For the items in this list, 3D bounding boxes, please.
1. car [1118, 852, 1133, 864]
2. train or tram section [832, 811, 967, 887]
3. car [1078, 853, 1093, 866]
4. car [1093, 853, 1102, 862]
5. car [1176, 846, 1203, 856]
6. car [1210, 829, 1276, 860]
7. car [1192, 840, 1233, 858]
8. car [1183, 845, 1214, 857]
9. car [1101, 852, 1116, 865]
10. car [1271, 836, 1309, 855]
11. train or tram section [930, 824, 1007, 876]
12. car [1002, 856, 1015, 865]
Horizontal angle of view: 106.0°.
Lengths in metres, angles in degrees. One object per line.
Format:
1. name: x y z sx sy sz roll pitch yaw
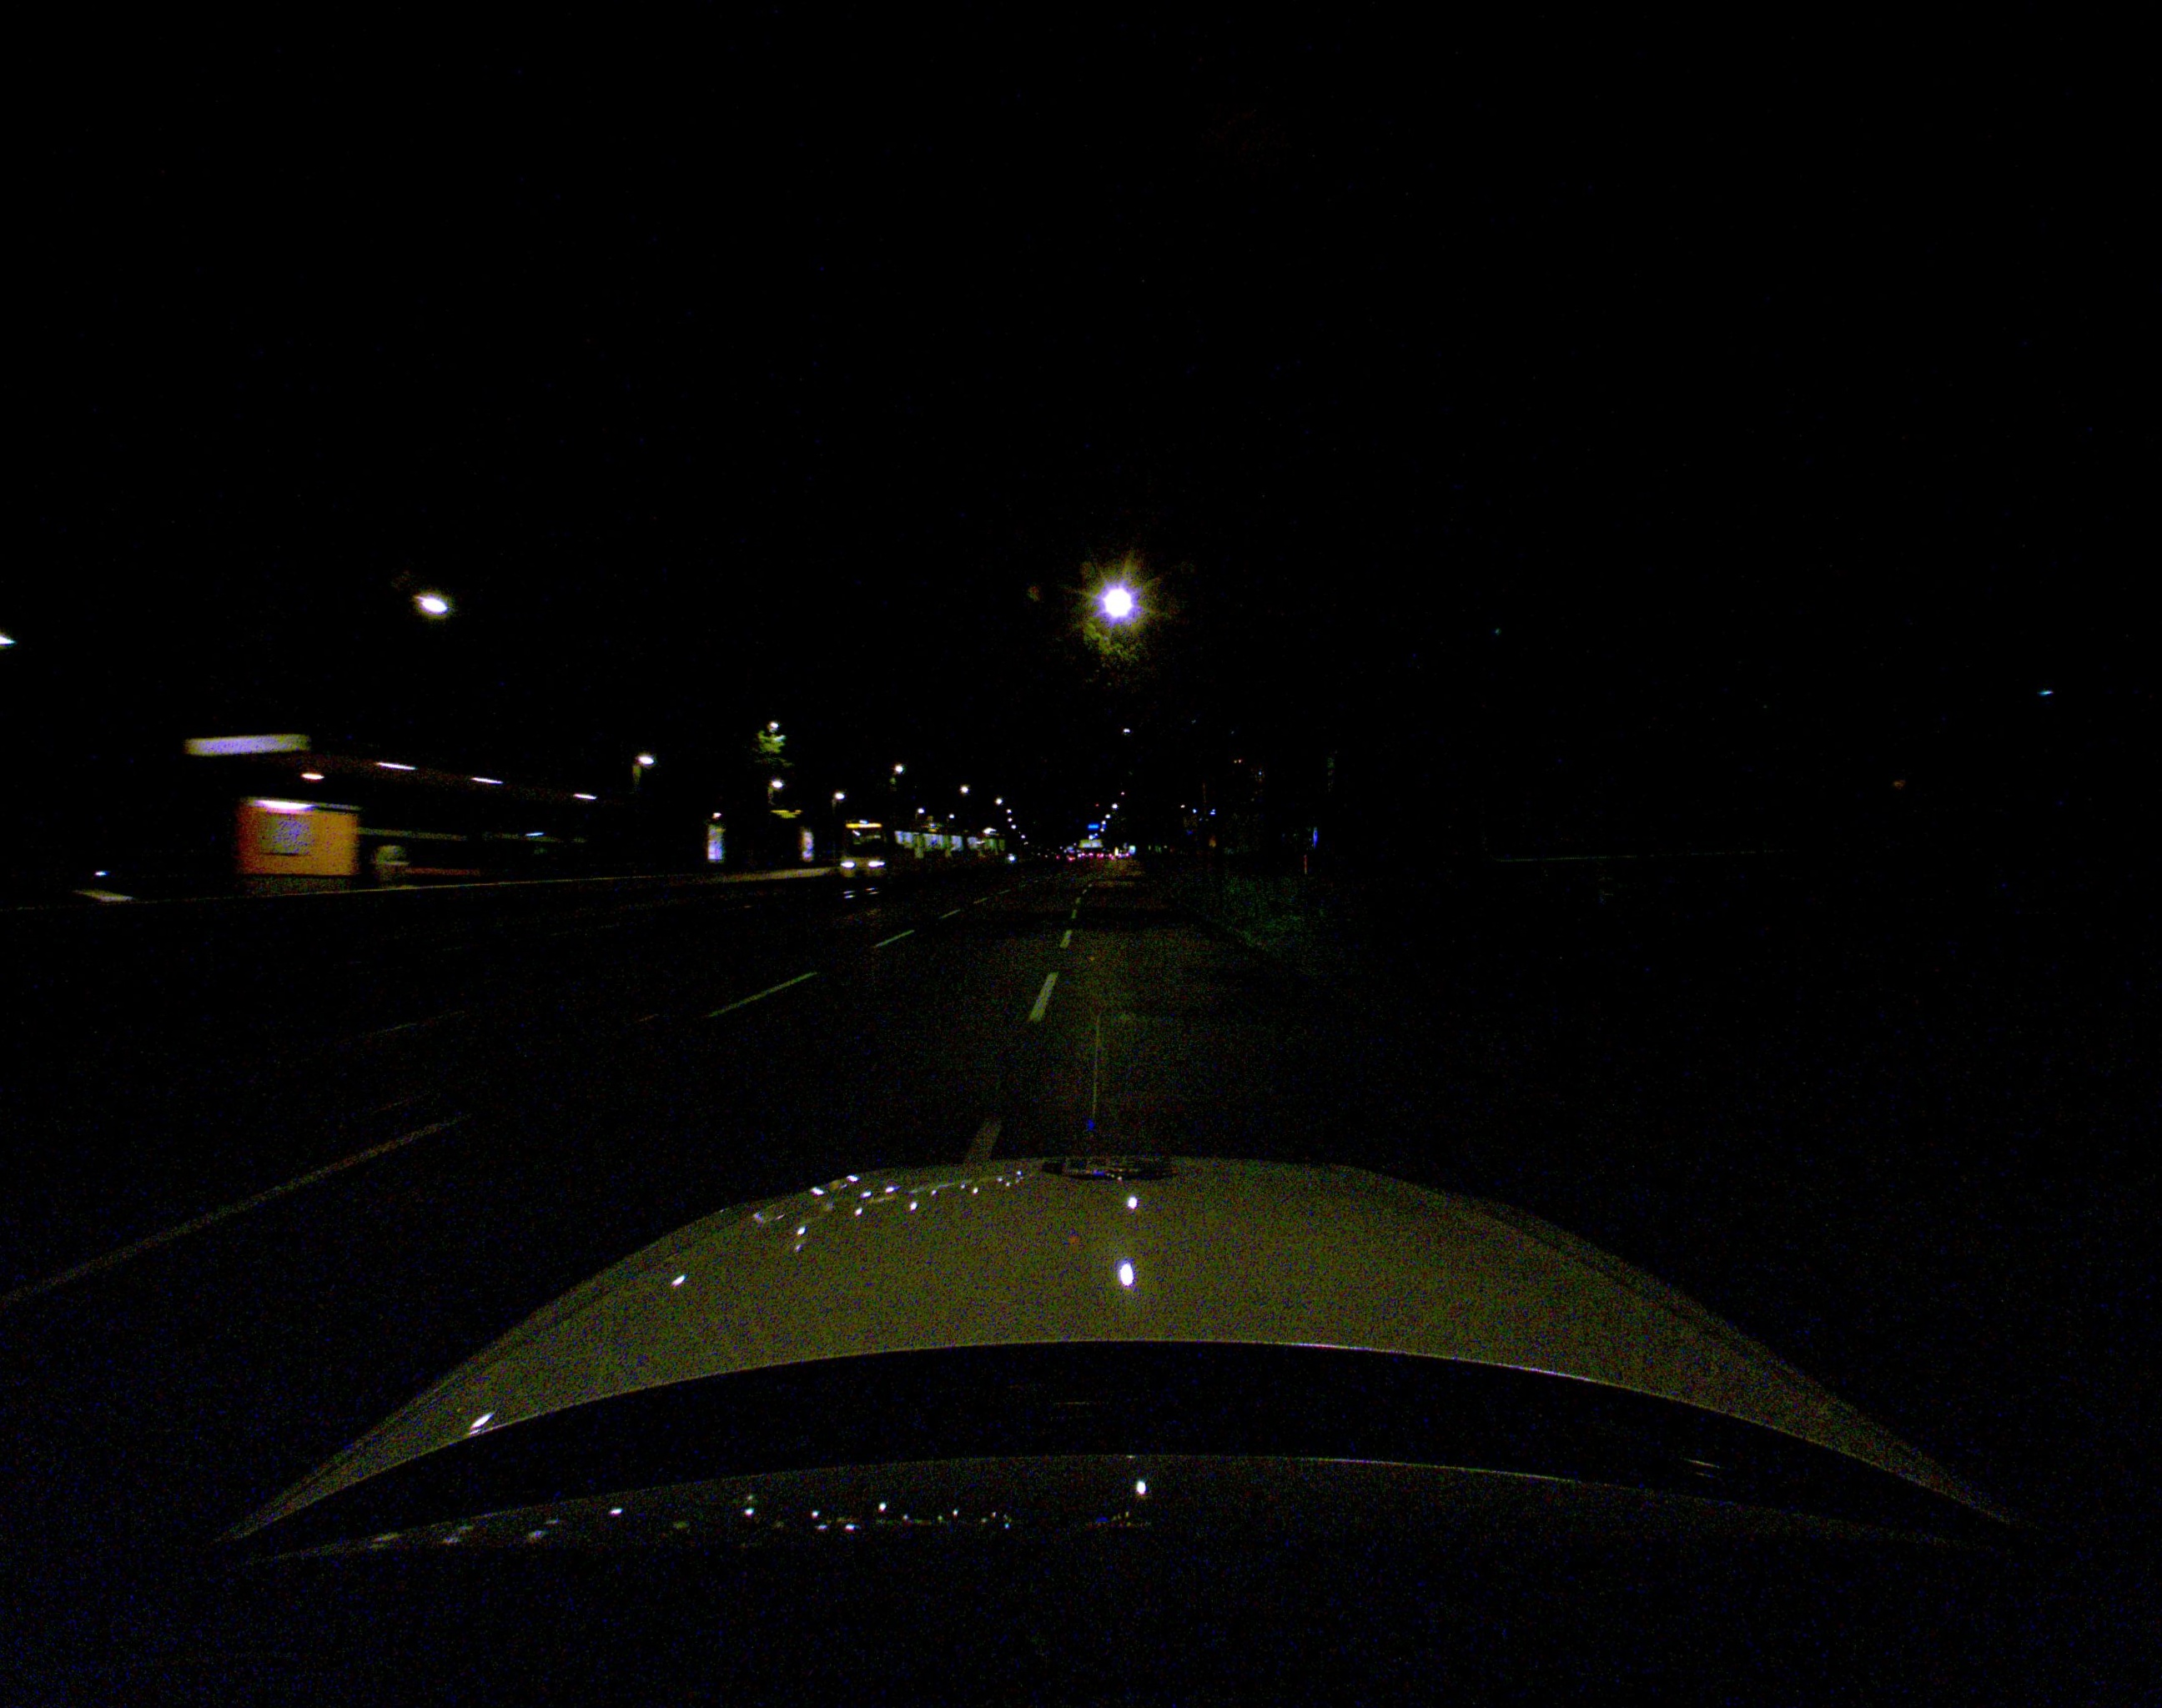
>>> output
1. car: 7.912 0.708 145.364 2.418 2.113 4.828 -1 0 2
2. train or tram section: -10.615 -0.279 51.239 2.726 3.846 19.386 -1 0 4
3. car: 0.722 0.837 132.116 2.254 2.014 4.828 -1 0 2
4. car: 3.534 0.784 177.796 1.879 1.860 4.002 -1 0 2
5. car: 17.430 -0.465 131.037 3.994 1.423 1.899 -1 1 -16
6. car: 16.476 -0.958 82.963 6.027 2.529 2.272 -7 1 -15
7. car: 16.276 -0.593 100.707 4.459 1.687 1.994 -6 1 -9
8. car: 16.973 -0.418 117.473 4.029 1.373 1.817 -5 0 -14
9. car: 4.650 0.760 136.703 2.347 2.129 4.828 -1 0 2
10. car: 21.305 -0.837 83.037 1.811 1.712 3.941 -3 0 -20
11. train or tram section: -9.242 -0.339 70.253 2.746 3.827 18.690 -1 0 4
12. car: -13.385 1.190 150.335 1.653 1.516 3.915 -1 0 4
